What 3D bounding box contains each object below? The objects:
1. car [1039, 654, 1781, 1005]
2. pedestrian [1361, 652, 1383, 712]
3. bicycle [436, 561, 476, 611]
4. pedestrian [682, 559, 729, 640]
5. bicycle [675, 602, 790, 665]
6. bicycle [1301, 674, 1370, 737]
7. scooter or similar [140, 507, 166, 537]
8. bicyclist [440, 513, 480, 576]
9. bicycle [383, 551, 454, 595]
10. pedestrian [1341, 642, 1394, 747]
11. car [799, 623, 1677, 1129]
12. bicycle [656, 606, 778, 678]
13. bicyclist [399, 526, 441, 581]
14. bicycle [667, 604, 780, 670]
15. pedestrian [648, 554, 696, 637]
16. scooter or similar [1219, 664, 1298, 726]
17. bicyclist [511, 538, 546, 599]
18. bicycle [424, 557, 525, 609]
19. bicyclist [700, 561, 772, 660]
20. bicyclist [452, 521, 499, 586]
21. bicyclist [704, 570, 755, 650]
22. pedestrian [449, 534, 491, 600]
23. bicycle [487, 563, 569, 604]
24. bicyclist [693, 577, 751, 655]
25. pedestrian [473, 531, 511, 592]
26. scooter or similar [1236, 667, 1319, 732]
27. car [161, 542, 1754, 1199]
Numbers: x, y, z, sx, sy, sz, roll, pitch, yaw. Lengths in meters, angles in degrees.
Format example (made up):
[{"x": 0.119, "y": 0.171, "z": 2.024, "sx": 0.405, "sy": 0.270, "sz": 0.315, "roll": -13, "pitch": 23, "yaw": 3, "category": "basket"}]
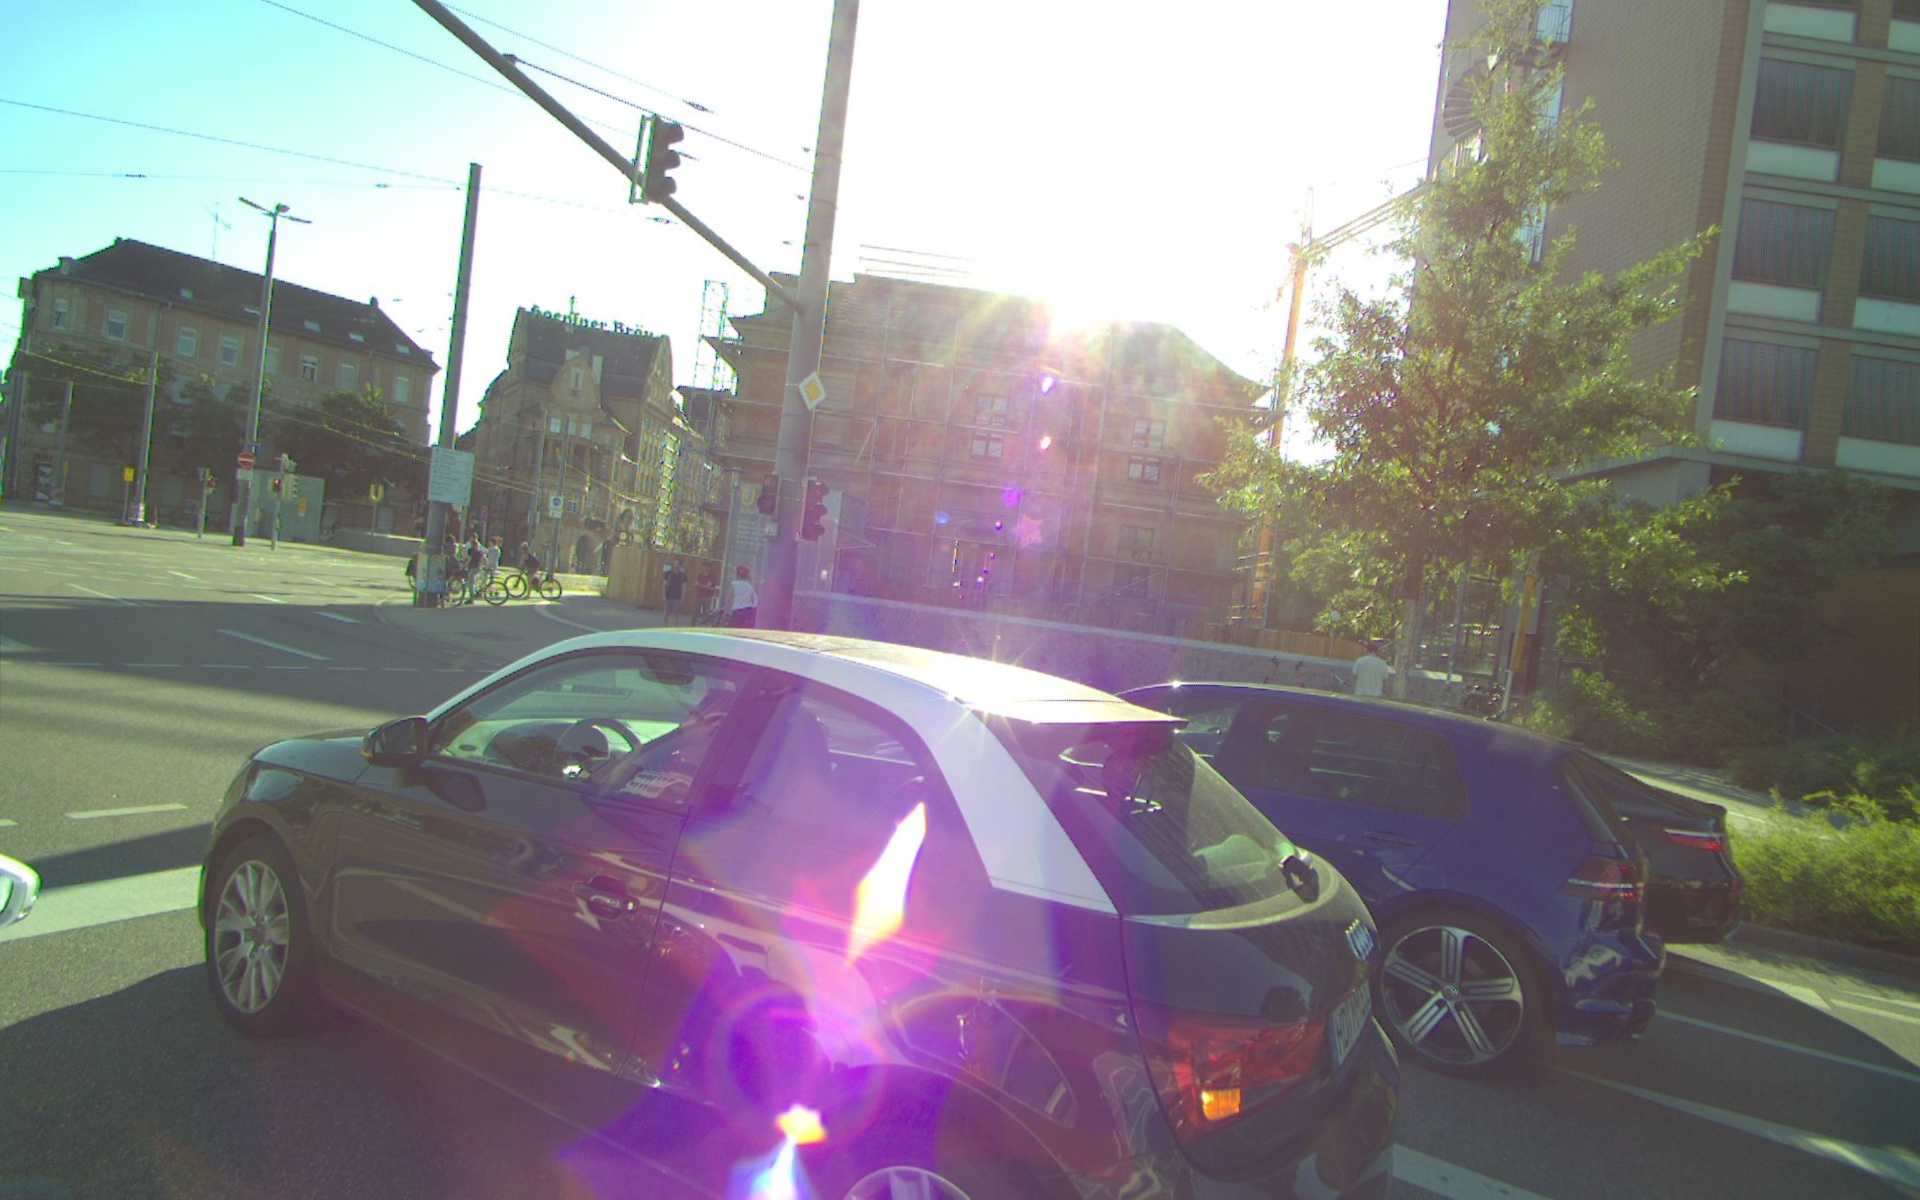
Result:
[{"x": 3.022, "y": 1.417, "z": 7.474, "sx": 4.436, "sy": 1.420, "sz": 1.727, "roll": 6, "pitch": -2, "yaw": 31, "category": "car"}, {"x": 12.297, "y": 2.449, "z": 30.051, "sx": 0.369, "sy": 1.752, "sz": 0.444, "roll": 7, "pitch": -1, "yaw": 17, "category": "pedestrian"}, {"x": -12.685, "y": -0.373, "z": 25.274, "sx": 0.693, "sy": 1.061, "sz": 2.303, "roll": 9, "pitch": -1, "yaw": -29, "category": "bicycle"}, {"x": -6.055, "y": 0.005, "z": 23.959, "sx": 0.672, "sy": 1.828, "sz": 0.672, "roll": 7, "pitch": -1, "yaw": 11, "category": "pedestrian"}, {"x": -4.463, "y": 0.648, "z": 19.791, "sx": 1.997, "sy": 0.976, "sz": 0.660, "roll": 7, "pitch": 2, "yaw": 5, "category": "bicycle"}, {"x": 7.026, "y": 1.971, "z": 18.849, "sx": 0.352, "sy": 1.015, "sz": 1.149, "roll": 8, "pitch": -2, "yaw": -29, "category": "bicycle"}, {"x": -42.098, "y": -4.071, "z": 52.446, "sx": 0.784, "sy": 1.392, "sz": 1.885, "roll": 8, "pitch": -2, "yaw": -44, "category": "scooter or similar"}, {"x": -12.583, "y": -1.387, "z": 25.312, "sx": 0.703, "sy": 1.456, "sz": 0.940, "roll": 8, "pitch": -1, "yaw": -30, "category": "bicyclist"}, {"x": -16.888, "y": -0.849, "z": 31.366, "sx": 2.278, "sy": 1.061, "sz": 0.536, "roll": 8, "pitch": -1, "yaw": 24, "category": "bicycle"}, {"x": 6.856, "y": 1.569, "z": 16.929, "sx": 0.592, "sy": 1.662, "sz": 0.677, "roll": 7, "pitch": 3, "yaw": 29, "category": "pedestrian"}, {"x": 1.252, "y": 1.098, "z": 5.355, "sx": 3.934, "sy": 1.420, "sz": 1.627, "roll": 6, "pitch": -2, "yaw": 32, "category": "car"}, {"x": -4.185, "y": 0.723, "z": 17.309, "sx": 1.999, "sy": 0.974, "sz": 0.660, "roll": 6, "pitch": -1, "yaw": 27, "category": "bicycle"}, {"x": -16.844, "y": -1.460, "z": 31.387, "sx": 0.930, "sy": 1.575, "sz": 0.516, "roll": 7, "pitch": -1, "yaw": 24, "category": "bicyclist"}, {"x": -4.380, "y": 0.677, "z": 18.580, "sx": 1.999, "sy": 0.976, "sz": 0.659, "roll": 6, "pitch": 2, "yaw": 27, "category": "bicycle"}, {"x": -6.674, "y": -0.103, "z": 23.313, "sx": 0.672, "sy": 1.830, "sz": 0.672, "roll": 7, "pitch": 2, "yaw": 11, "category": "pedestrian"}, {"x": 5.809, "y": 1.849, "z": 19.626, "sx": 1.346, "sy": 1.007, "sz": 0.343, "roll": 7, "pitch": -1, "yaw": 13, "category": "scooter or similar"}, {"x": -13.522, "y": -0.982, "z": 31.554, "sx": 0.785, "sy": 1.800, "sz": 0.520, "roll": 8, "pitch": -1, "yaw": -23, "category": "bicyclist"}, {"x": -12.906, "y": -0.447, "z": 26.802, "sx": 2.294, "sy": 1.061, "sz": 0.696, "roll": 9, "pitch": -2, "yaw": -28, "category": "bicycle"}, {"x": -3.818, "y": 0.180, "z": 17.189, "sx": 0.781, "sy": 1.571, "sz": 0.668, "roll": 7, "pitch": -1, "yaw": 27, "category": "bicyclist"}, {"x": -12.889, "y": -1.222, "z": 26.767, "sx": 0.936, "sy": 1.575, "sz": 0.705, "roll": 8, "pitch": -1, "yaw": -28, "category": "bicyclist"}, {"x": -4.522, "y": 0.213, "z": 19.795, "sx": 0.661, "sy": 1.471, "sz": 0.618, "roll": 7, "pitch": -1, "yaw": 3, "category": "bicyclist"}, {"x": -16.321, "y": -1.091, "z": 33.487, "sx": 0.748, "sy": 2.037, "sz": 0.733, "roll": 7, "pitch": -1, "yaw": 25, "category": "pedestrian"}, {"x": -13.531, "y": -0.507, "z": 31.575, "sx": 2.289, "sy": 1.063, "sz": 0.532, "roll": 5, "pitch": 2, "yaw": -25, "category": "bicycle"}, {"x": -4.395, "y": 0.297, "z": 18.603, "sx": 0.662, "sy": 1.330, "sz": 0.617, "roll": 7, "pitch": -1, "yaw": 27, "category": "bicyclist"}, {"x": -15.958, "y": -1.307, "z": 34.310, "sx": 0.678, "sy": 1.945, "sz": 0.649, "roll": 7, "pitch": -1, "yaw": 25, "category": "pedestrian"}, {"x": 5.891, "y": 1.833, "z": 18.691, "sx": 1.348, "sy": 1.007, "sz": 0.342, "roll": 7, "pitch": -1, "yaw": 25, "category": "scooter or similar"}, {"x": -0.407, "y": 0.781, "z": 2.900, "sx": 3.934, "sy": 1.420, "sz": 1.627, "roll": 6, "pitch": -2, "yaw": 32, "category": "car"}]
